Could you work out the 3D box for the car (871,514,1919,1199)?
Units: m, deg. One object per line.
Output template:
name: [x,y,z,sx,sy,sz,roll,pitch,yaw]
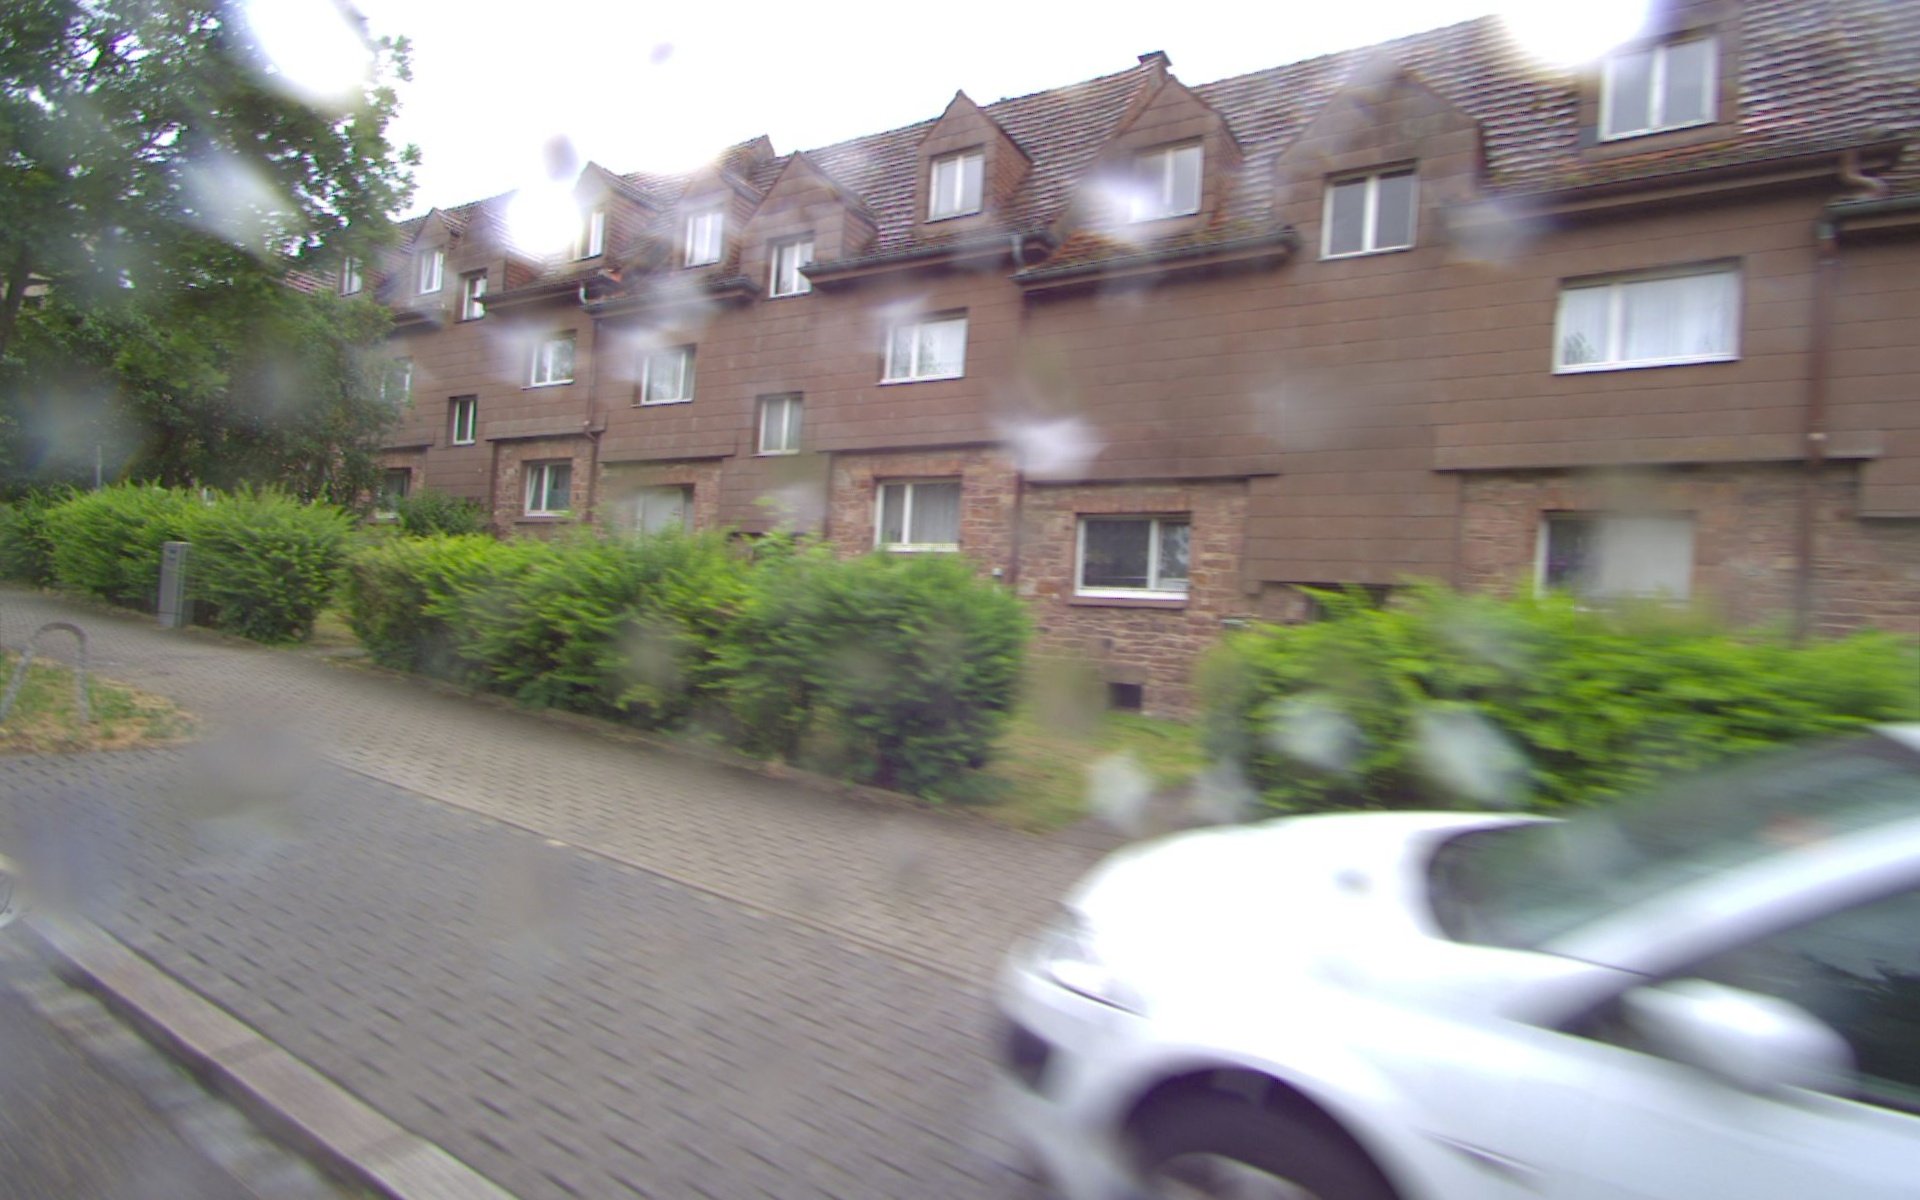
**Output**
car: [2.165,0.848,1.765,4.403,1.624,1.823,6,1,35]
